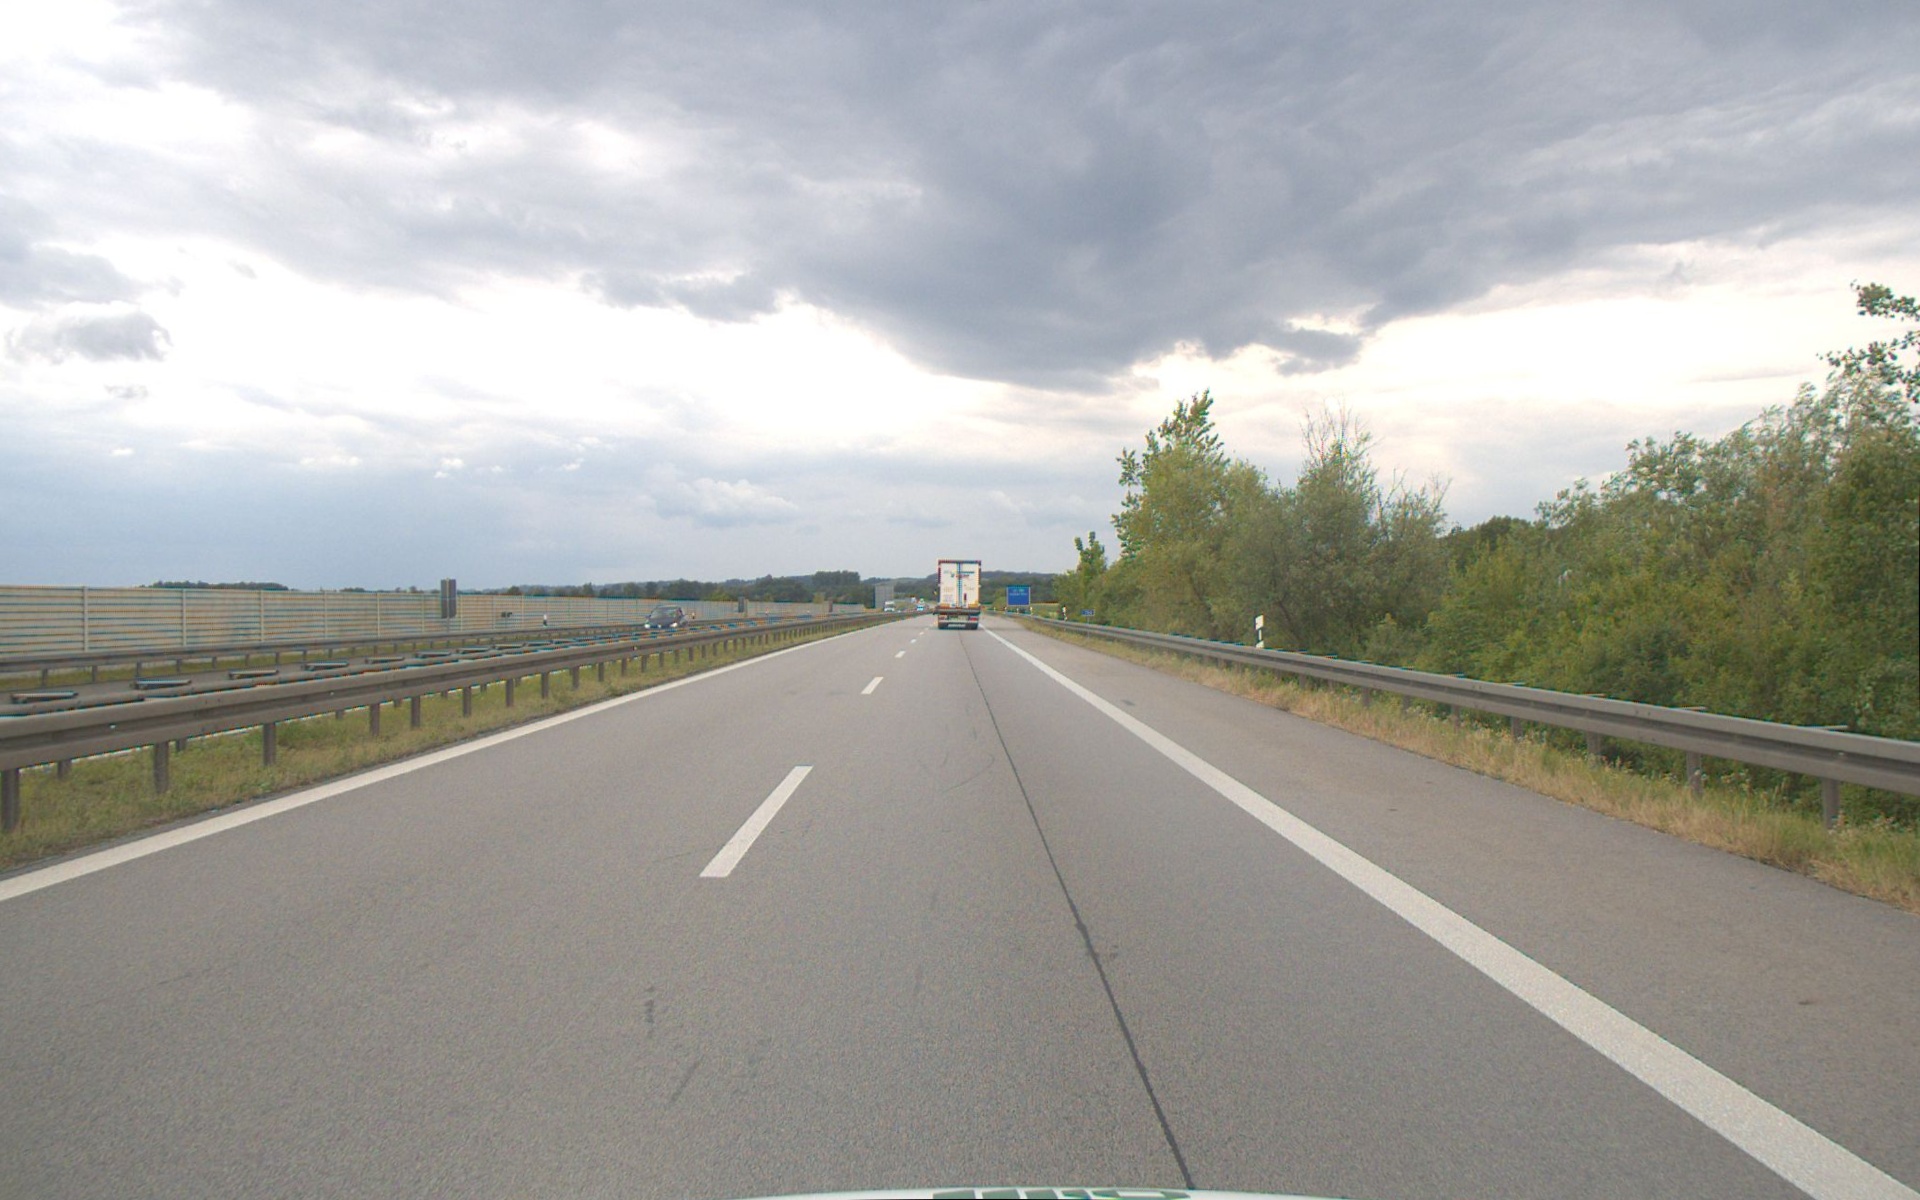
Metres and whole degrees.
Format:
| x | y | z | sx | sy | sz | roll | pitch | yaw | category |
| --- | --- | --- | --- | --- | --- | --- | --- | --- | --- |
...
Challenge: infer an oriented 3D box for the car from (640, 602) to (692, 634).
| x | y | z | sx | sy | sz | roll | pitch | yaw | category |
| --- | --- | --- | --- | --- | --- | --- | --- | --- | --- |
| -14.217 | 0.849 | 80.136 | 1.625 | 1.352 | 4.608 | -4 | 0 | -1 | car |

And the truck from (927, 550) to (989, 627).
| x | y | z | sx | sy | sz | roll | pitch | yaw | category |
| --- | --- | --- | --- | --- | --- | --- | --- | --- | --- |
| -0.246 | -0.698 | 105.163 | 3.598 | 4.489 | 16.337 | -1 | 0 | -1 | truck |

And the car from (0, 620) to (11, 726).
| x | y | z | sx | sy | sz | roll | pitch | yaw | category |
| --- | --- | --- | --- | --- | --- | --- | --- | --- | --- |
| -13.875 | 1.025 | 20.200 | 1.781 | 1.428 | 4.876 | -2 | 0 | -1 | car |
